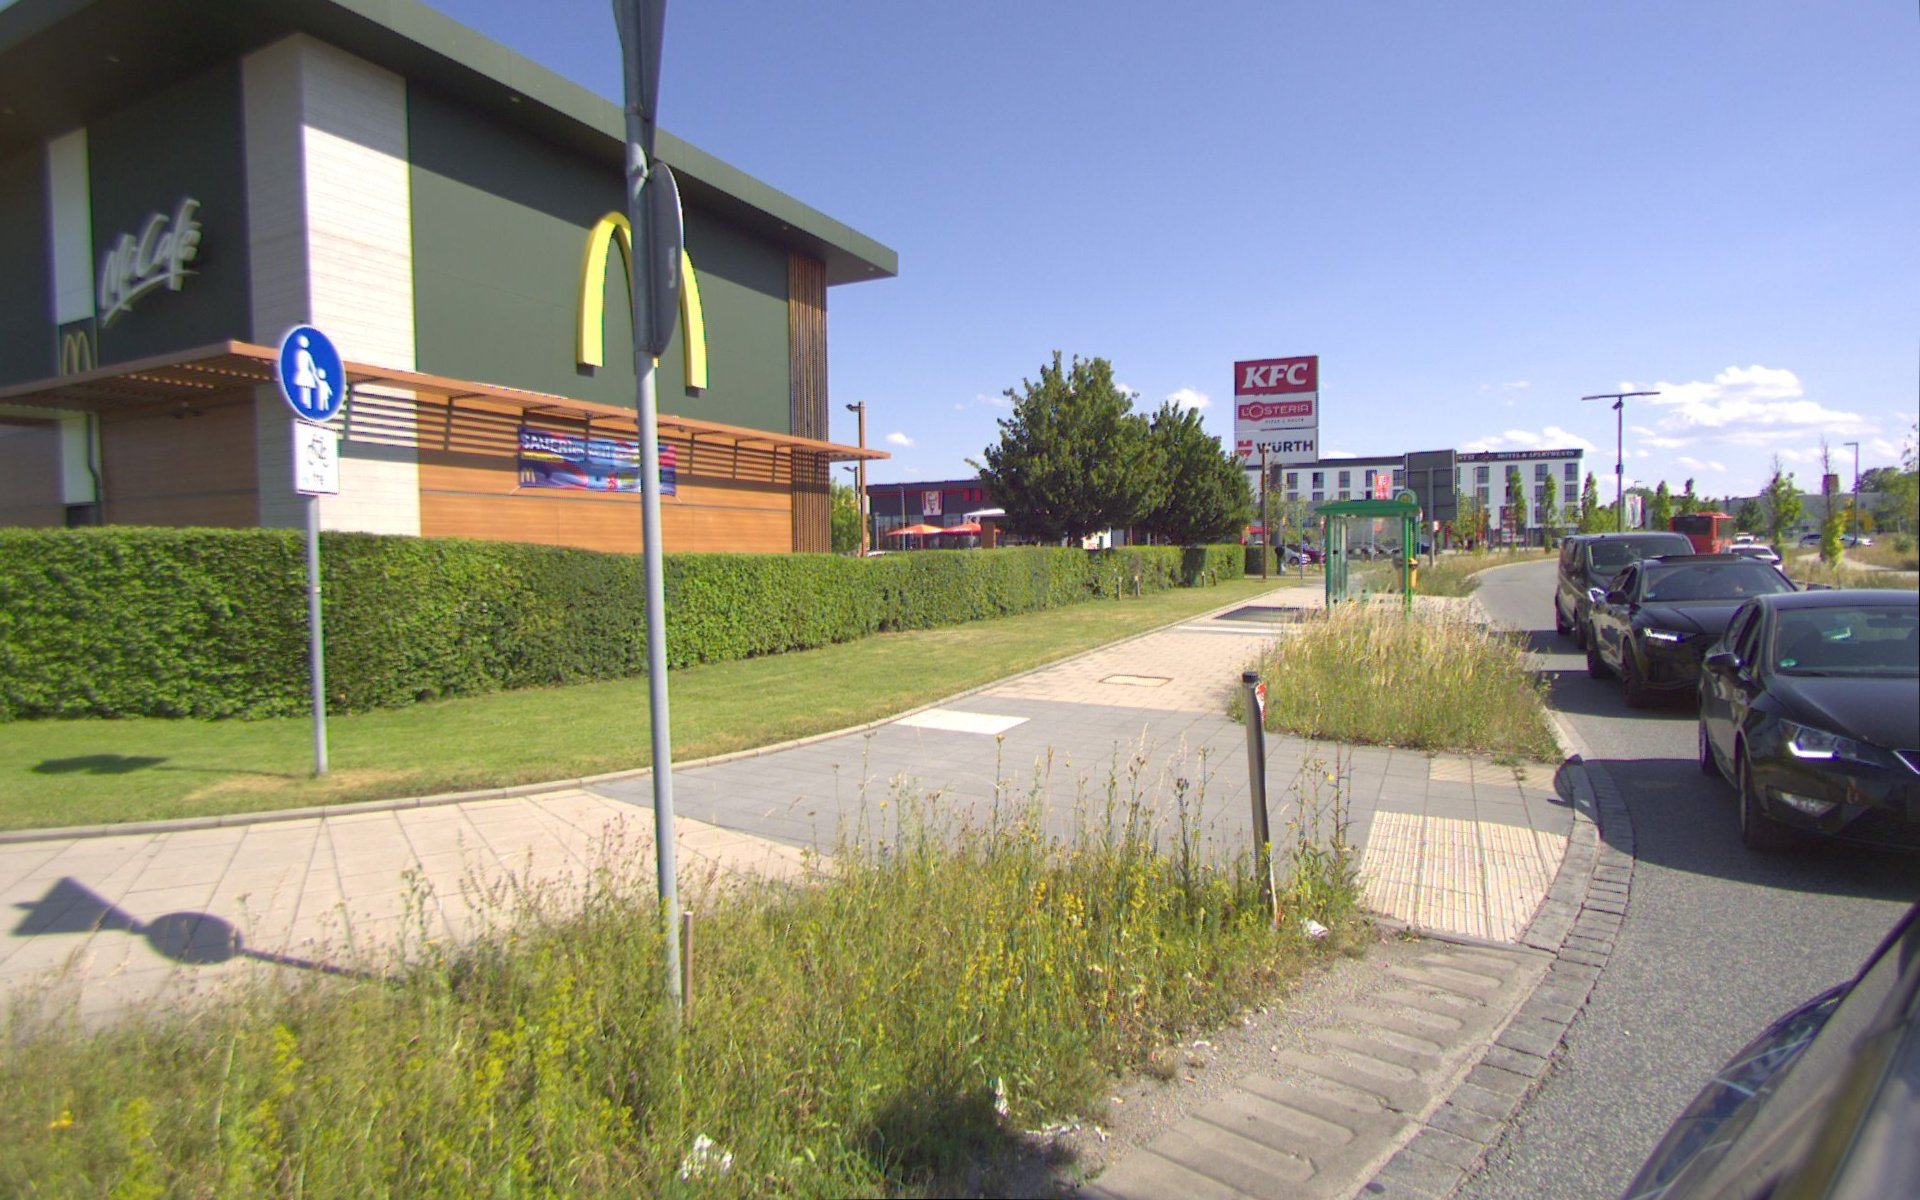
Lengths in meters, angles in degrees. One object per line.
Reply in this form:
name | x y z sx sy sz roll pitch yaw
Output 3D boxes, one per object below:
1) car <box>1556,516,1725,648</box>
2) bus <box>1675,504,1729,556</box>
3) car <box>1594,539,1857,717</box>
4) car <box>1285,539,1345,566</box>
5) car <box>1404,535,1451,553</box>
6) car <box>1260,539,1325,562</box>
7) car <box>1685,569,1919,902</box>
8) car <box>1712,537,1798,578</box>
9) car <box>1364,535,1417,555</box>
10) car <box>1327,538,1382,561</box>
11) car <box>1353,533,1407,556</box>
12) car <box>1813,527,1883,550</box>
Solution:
car | 12.339 -0.390 18.667 2.062 2.073 4.638 -3 2 29
bus | 51.200 -4.754 69.673 2.604 3.281 11.721 1 3 38
car | 8.824 0.210 12.036 1.846 1.709 3.962 -3 2 29
car | 28.504 -3.822 81.230 4.171 2.038 1.905 1 3 42
car | 45.412 -5.466 98.304 3.808 1.639 1.732 1 3 41
car | 25.549 -3.773 77.709 4.412 1.673 1.911 1 3 34
car | 5.796 0.591 6.248 1.849 1.486 3.957 1 3 32
car | 29.622 -1.590 37.829 1.781 1.433 4.340 0 3 29
car | 40.122 -5.124 94.336 4.175 1.783 1.795 1 3 45
car | 34.442 -4.397 88.435 1.775 1.880 4.175 -3 3 -45
car | 38.101 -5.023 91.866 4.167 2.038 1.907 1 3 40
car | 69.606 -4.819 79.388 1.591 1.697 3.942 -3 3 -40
